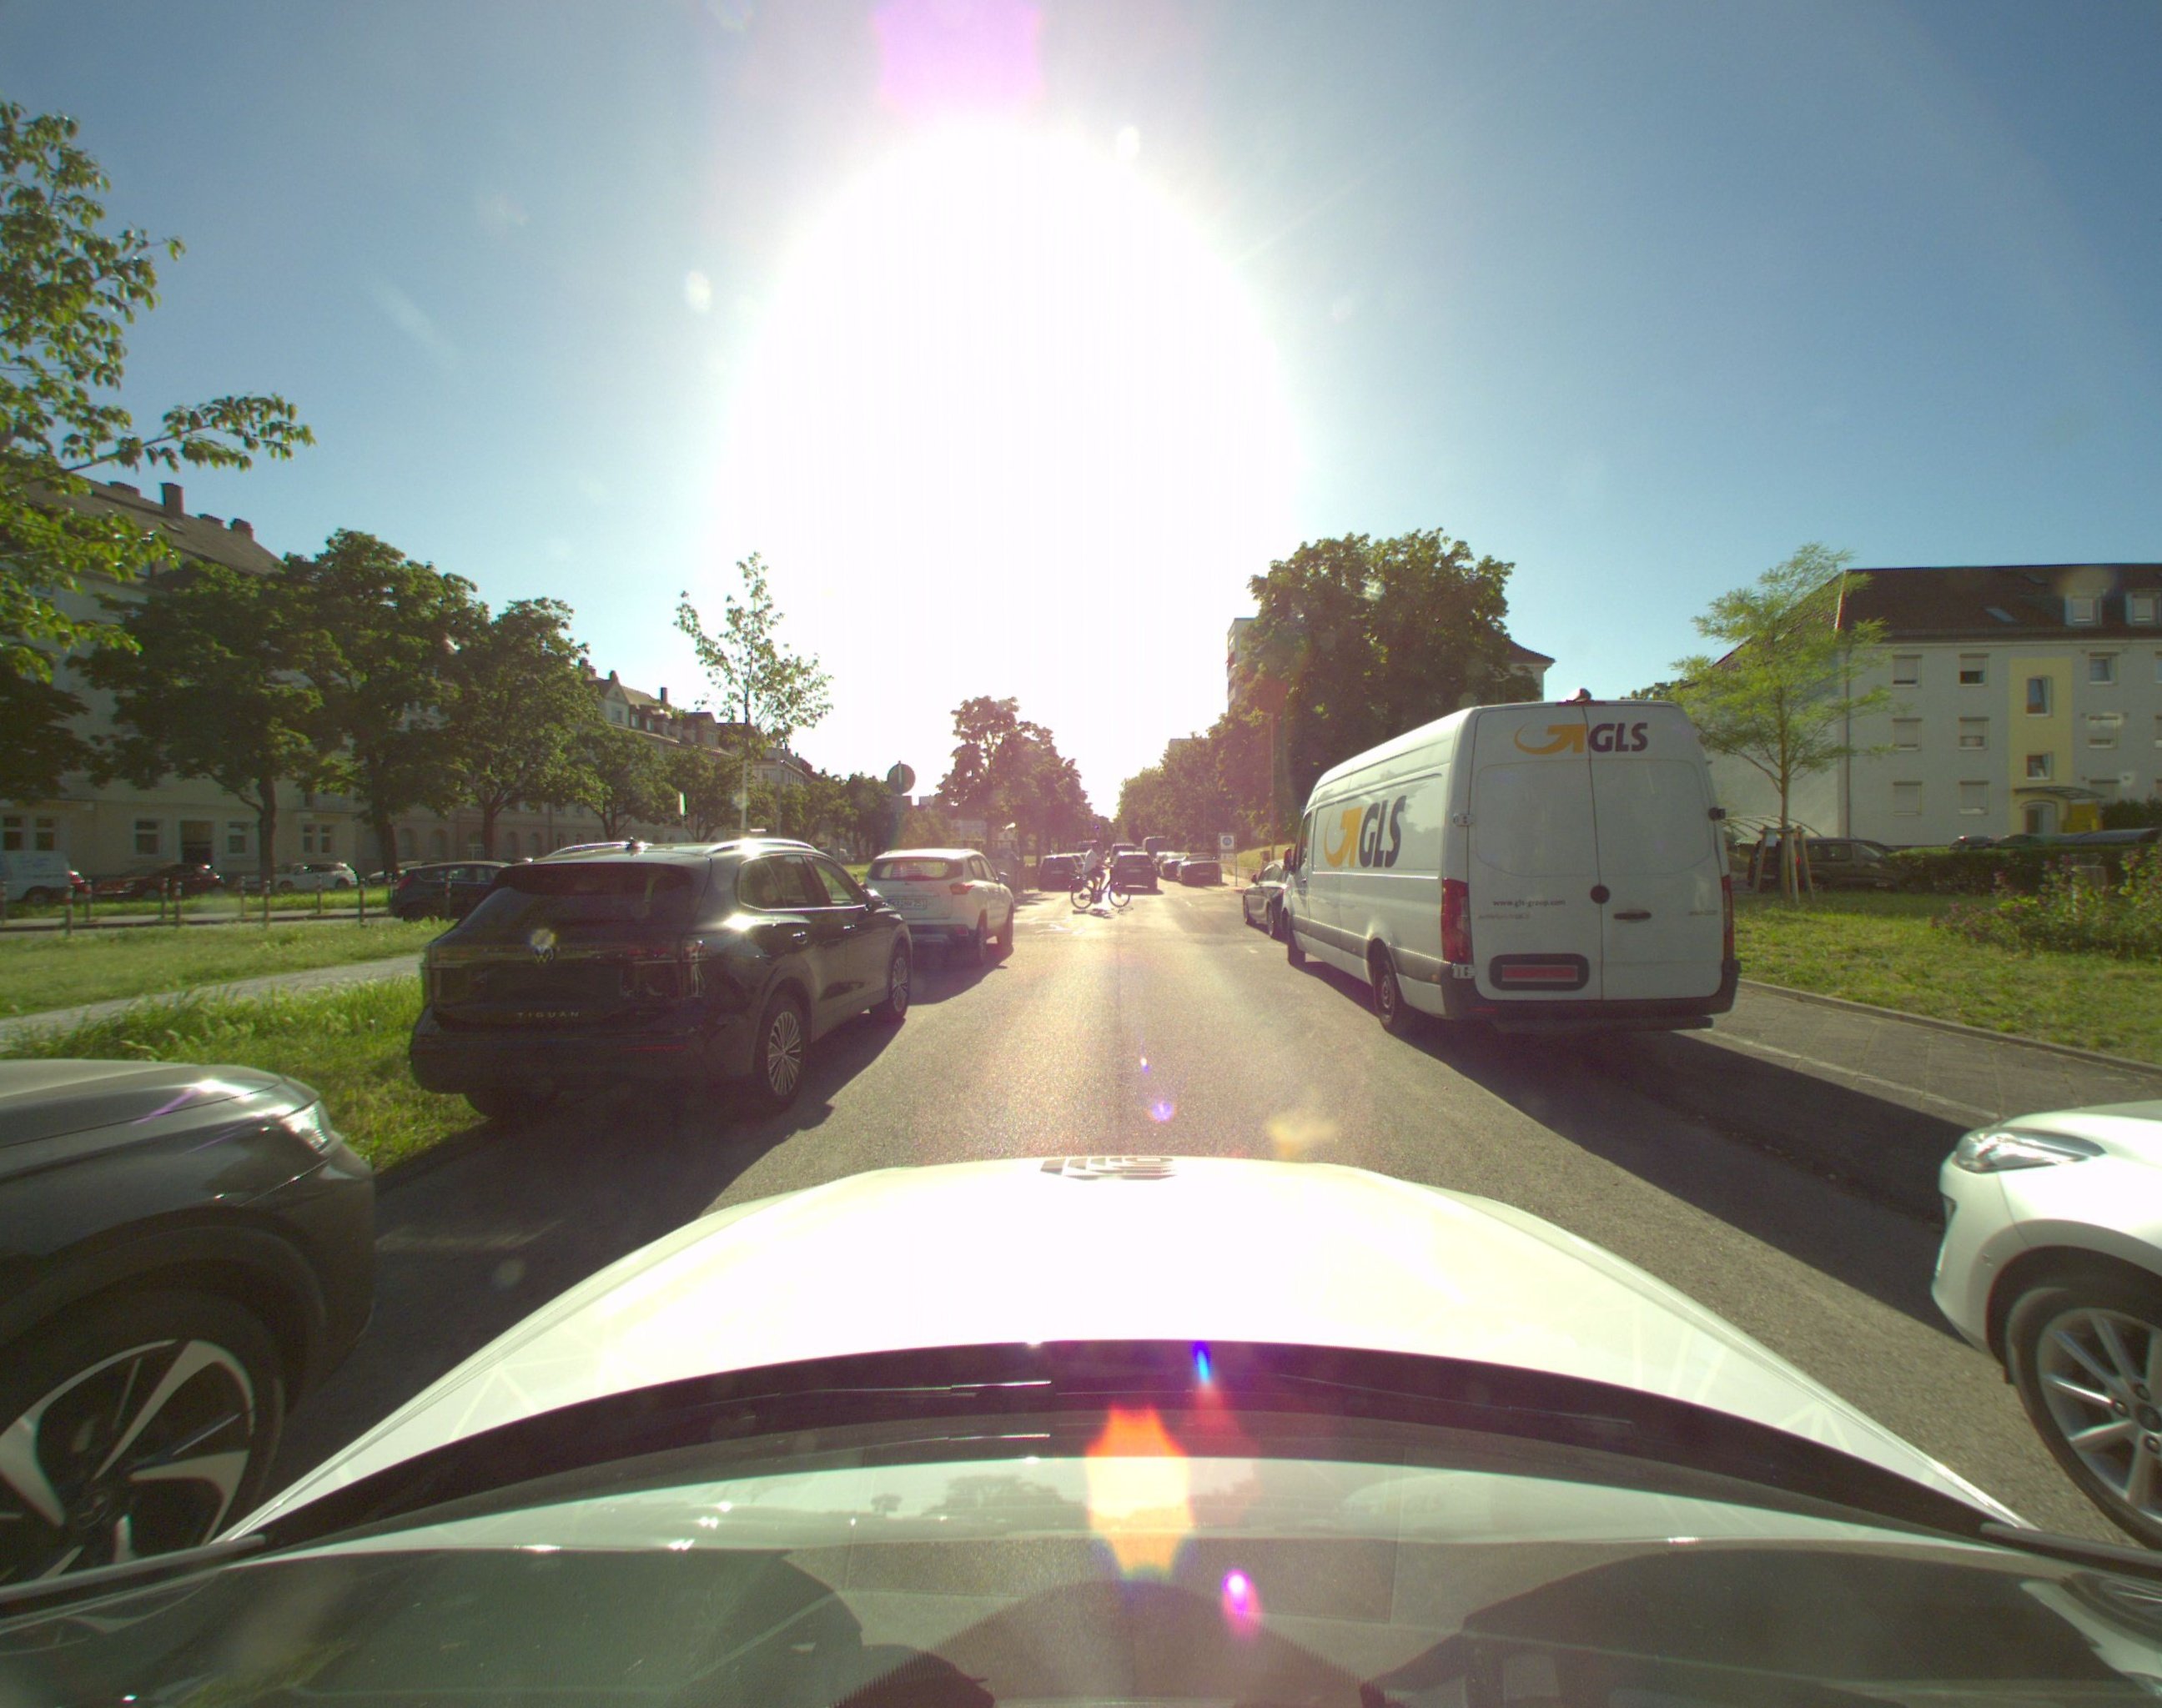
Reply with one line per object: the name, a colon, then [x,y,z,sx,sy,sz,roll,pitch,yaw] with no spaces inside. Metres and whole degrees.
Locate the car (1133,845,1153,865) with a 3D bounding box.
car: [7.218,0.065,95.597,2.154,2.292,5.268,-1,0,2]

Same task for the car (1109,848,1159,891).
car: [2.053,0.538,31.432,1.771,1.531,4.004,0,0,4]

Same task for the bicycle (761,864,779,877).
bicycle: [-30.831,1.586,80.766,0.807,1.252,2.635,0,0,1]

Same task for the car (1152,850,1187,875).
car: [5.481,0.518,50.794,1.773,1.487,4.033,-1,0,1]

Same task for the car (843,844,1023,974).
car: [-2.101,0.707,12.854,1.748,1.647,4.291,-2,0,4]

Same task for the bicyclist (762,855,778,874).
bicyclist: [-30.826,1.014,80.737,0.938,1.837,1.450,-1,-1,1]

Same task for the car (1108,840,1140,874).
car: [2.748,0.181,51.641,1.886,1.991,4.014,-2,0,4]

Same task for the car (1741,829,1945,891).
car: [22.501,0.166,24.176,4.265,1.730,1.870,-1,0,1]

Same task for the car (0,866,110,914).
car: [-41.772,1.398,32.112,1.985,1.751,4.058,-1,0,3]

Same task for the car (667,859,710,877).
car: [-34.475,1.224,71.618,1.687,1.429,3.778,-1,0,3]

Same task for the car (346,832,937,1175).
car: [-2.606,0.733,6.390,1.835,1.638,4.718,-2,0,3]

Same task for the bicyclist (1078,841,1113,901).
bicyclist: [0.394,0.443,22.128,0.790,1.596,0.692,-1,0,-16]

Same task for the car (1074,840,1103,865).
car: [0.641,-0.151,65.640,2.090,1.942,4.130,-1,0,3]

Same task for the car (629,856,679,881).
car: [-34.695,1.175,66.333,1.730,1.908,4.460,-1,0,0]

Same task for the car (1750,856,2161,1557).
car: [3.184,0.766,0.696,1.842,1.466,4.203,0,1,1]

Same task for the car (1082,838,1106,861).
car: [1.611,-0.540,97.514,2.605,2.645,6.120,-1,0,4]

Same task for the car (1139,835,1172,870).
car: [5.983,-0.133,65.966,2.156,2.689,5.415,-1,0,-1]

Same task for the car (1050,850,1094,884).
car: [-0.395,0.593,39.449,1.769,1.495,3.878,-3,0,4]

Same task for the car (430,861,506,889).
car: [-40.697,1.373,54.181,1.837,1.701,4.006,-1,0,5]

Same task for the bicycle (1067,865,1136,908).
bicycle: [0.546,0.868,22.167,1.763,1.127,0.659,-1,0,-16]

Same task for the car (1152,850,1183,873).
car: [5.879,0.458,55.845,1.980,1.487,4.131,-1,0,4]

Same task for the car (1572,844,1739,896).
car: [17.048,0.452,24.275,3.876,1.429,1.658,-1,0,-2]

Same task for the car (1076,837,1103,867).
car: [0.774,-0.183,72.055,2.089,2.496,4.131,-1,0,4]

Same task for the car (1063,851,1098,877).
car: [0.006,0.556,47.375,1.772,1.461,4.131,-1,0,4]

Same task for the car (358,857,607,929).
car: [-13.865,0.848,19.228,4.351,1.409,1.907,-1,2,-22]

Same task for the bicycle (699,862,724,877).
bicycle: [-31.091,1.285,68.572,0.806,1.252,2.637,0,-1,4]

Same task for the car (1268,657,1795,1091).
car: [3.667,0.119,8.658,2.133,2.713,6.849,-2,0,4]

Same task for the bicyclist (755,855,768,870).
bicyclist: [-30.735,0.830,78.285,0.735,1.437,0.943,-3,-1,2]

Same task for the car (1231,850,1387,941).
car: [4.344,0.708,16.300,1.951,1.481,4.501,-2,0,2]

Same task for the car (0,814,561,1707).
car: [-2.731,0.780,0.299,1.812,1.610,4.742,-2,0,3]

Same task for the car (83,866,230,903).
car: [-35.971,1.138,31.839,1.688,1.279,3.526,-1,0,0]

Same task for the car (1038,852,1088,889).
car: [-0.714,0.672,34.933,1.740,1.425,3.920,-3,-1,4]

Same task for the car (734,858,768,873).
car: [-34.127,1.186,84.362,1.839,1.440,3.777,-1,0,3]

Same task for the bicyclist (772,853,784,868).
bicyclist: [-29.184,0.596,78.498,0.735,1.437,0.943,-1,-1,2]

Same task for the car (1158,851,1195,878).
car: [5.175,0.558,44.422,1.772,1.371,4.131,-1,0,4]

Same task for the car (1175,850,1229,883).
car: [5.634,0.528,38.443,2.116,1.337,4.510,-3,0,4]

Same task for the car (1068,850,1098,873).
car: [0.207,0.497,57.179,1.825,1.500,4.131,-1,0,4]

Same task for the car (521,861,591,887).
car: [-35.168,1.302,54.736,1.751,1.549,4.528,-1,0,0]

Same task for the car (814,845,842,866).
car: [-33.273,0.155,107.095,1.909,2.744,5.624,-1,0,0]

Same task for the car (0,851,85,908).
car: [-36.552,0.843,26.474,2.075,1.872,5.098,-1,0,0]

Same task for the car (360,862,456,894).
car: [-35.581,1.220,43.212,1.688,1.526,4.081,-1,0,0]

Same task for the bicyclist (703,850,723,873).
bicyclist: [-31.087,0.635,68.725,0.937,1.837,1.450,-1,-1,3]

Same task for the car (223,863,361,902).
car: [-35.779,1.255,37.146,1.688,1.561,4.697,-1,0,0]

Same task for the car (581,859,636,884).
car: [-34.905,1.275,60.287,1.626,1.686,4.081,-1,0,0]

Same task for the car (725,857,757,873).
car: [-39.281,1.274,94.239,1.853,1.749,4.001,-1,0,1]
